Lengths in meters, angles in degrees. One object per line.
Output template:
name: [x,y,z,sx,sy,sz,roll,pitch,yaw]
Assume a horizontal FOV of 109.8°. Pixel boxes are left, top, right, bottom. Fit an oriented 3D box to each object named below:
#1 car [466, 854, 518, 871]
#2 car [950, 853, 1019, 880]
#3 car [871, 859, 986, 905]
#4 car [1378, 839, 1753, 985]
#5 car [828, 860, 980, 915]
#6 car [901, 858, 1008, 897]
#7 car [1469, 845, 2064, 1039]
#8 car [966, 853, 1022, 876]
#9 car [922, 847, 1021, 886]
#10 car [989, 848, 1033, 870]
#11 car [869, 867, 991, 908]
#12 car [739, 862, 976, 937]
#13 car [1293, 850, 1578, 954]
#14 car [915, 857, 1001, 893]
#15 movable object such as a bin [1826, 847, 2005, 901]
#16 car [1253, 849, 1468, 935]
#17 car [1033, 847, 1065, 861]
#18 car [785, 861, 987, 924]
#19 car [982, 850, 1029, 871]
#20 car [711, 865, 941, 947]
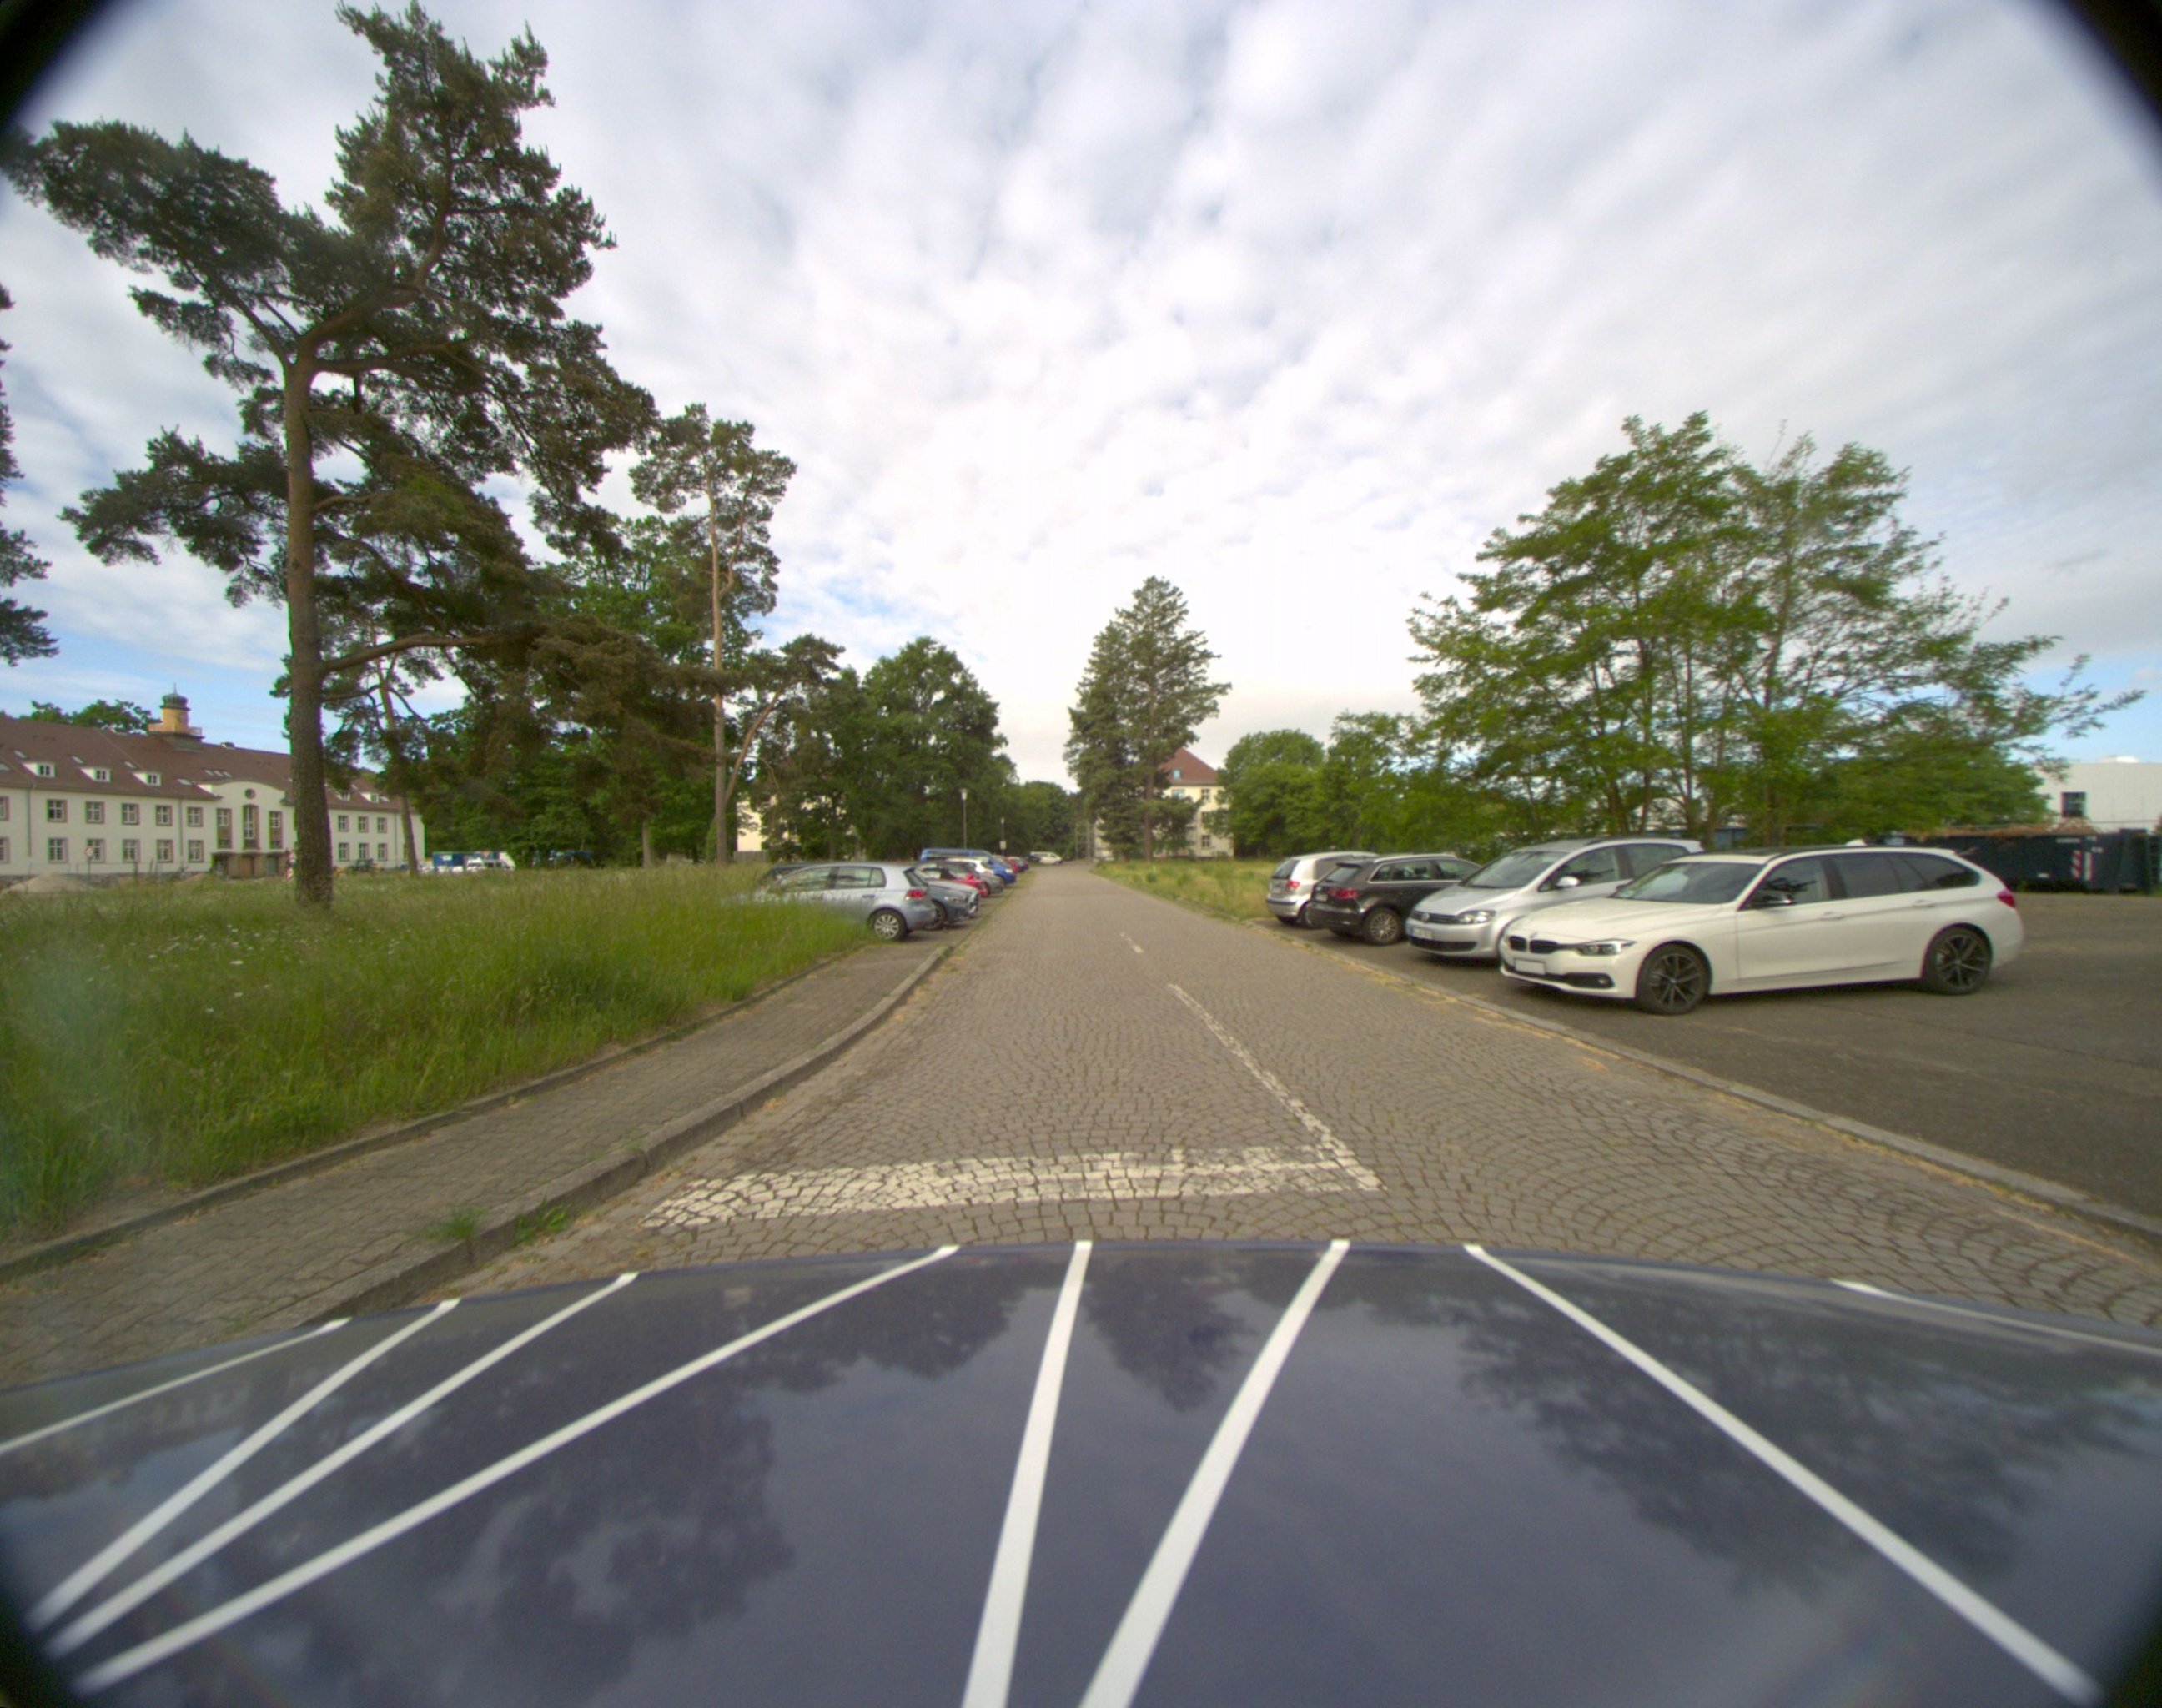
car: [-71.321,0.985,92.123,2.154,2.002,5.223,-1,1,1]
car: [-5.933,0.752,47.011,3.998,1.601,1.999,-1,1,-2]
car: [-5.328,0.949,26.949,3.787,1.497,1.798,-1,1,-4]
car: [6.349,0.694,10.188,3.999,1.538,1.723,-3,1,-7]
car: [-5.018,0.939,21.983,3.972,1.444,1.799,-1,1,-2]
car: [-4.902,0.899,29.854,3.849,1.448,1.820,-1,1,0]
car: [6.704,0.758,7.710,4.661,1.435,1.800,-3,1,-6]
car: [-6.529,0.772,57.325,3.998,1.521,1.999,-2,1,-2]
car: [-5.419,0.615,38.084,4.750,1.928,1.999,0,1,-3]
car: [-6.579,0.450,71.974,3.997,2.002,2.000,-1,1,-1]
car: [-4.745,1.048,24.254,3.600,1.200,1.494,-1,0,-1]
car: [-4.792,0.959,16.870,4.771,1.474,1.760,-1,1,-5]
car: [5.907,0.754,12.953,3.998,1.419,1.750,-3,1,-3]
car: [-5.233,0.885,32.667,3.409,1.444,1.637,-1,1,-1]
movable object such as a bin: [18.924,0.432,17.319,2.397,1.154,1.500,-1,1,3]
car: [5.684,0.730,15.696,3.689,1.444,1.807,-3,1,-7]
car: [-5.067,0.001,120.924,5.031,2.164,2.000,-1,1,0]
car: [-4.925,0.953,19.724,4.770,1.474,1.812,-1,1,-2]
car: [-6.664,0.576,67.573,4.008,1.752,2.000,-1,1,-1]
car: [-4.619,0.936,14.168,3.774,1.418,1.605,0,0,-3]
